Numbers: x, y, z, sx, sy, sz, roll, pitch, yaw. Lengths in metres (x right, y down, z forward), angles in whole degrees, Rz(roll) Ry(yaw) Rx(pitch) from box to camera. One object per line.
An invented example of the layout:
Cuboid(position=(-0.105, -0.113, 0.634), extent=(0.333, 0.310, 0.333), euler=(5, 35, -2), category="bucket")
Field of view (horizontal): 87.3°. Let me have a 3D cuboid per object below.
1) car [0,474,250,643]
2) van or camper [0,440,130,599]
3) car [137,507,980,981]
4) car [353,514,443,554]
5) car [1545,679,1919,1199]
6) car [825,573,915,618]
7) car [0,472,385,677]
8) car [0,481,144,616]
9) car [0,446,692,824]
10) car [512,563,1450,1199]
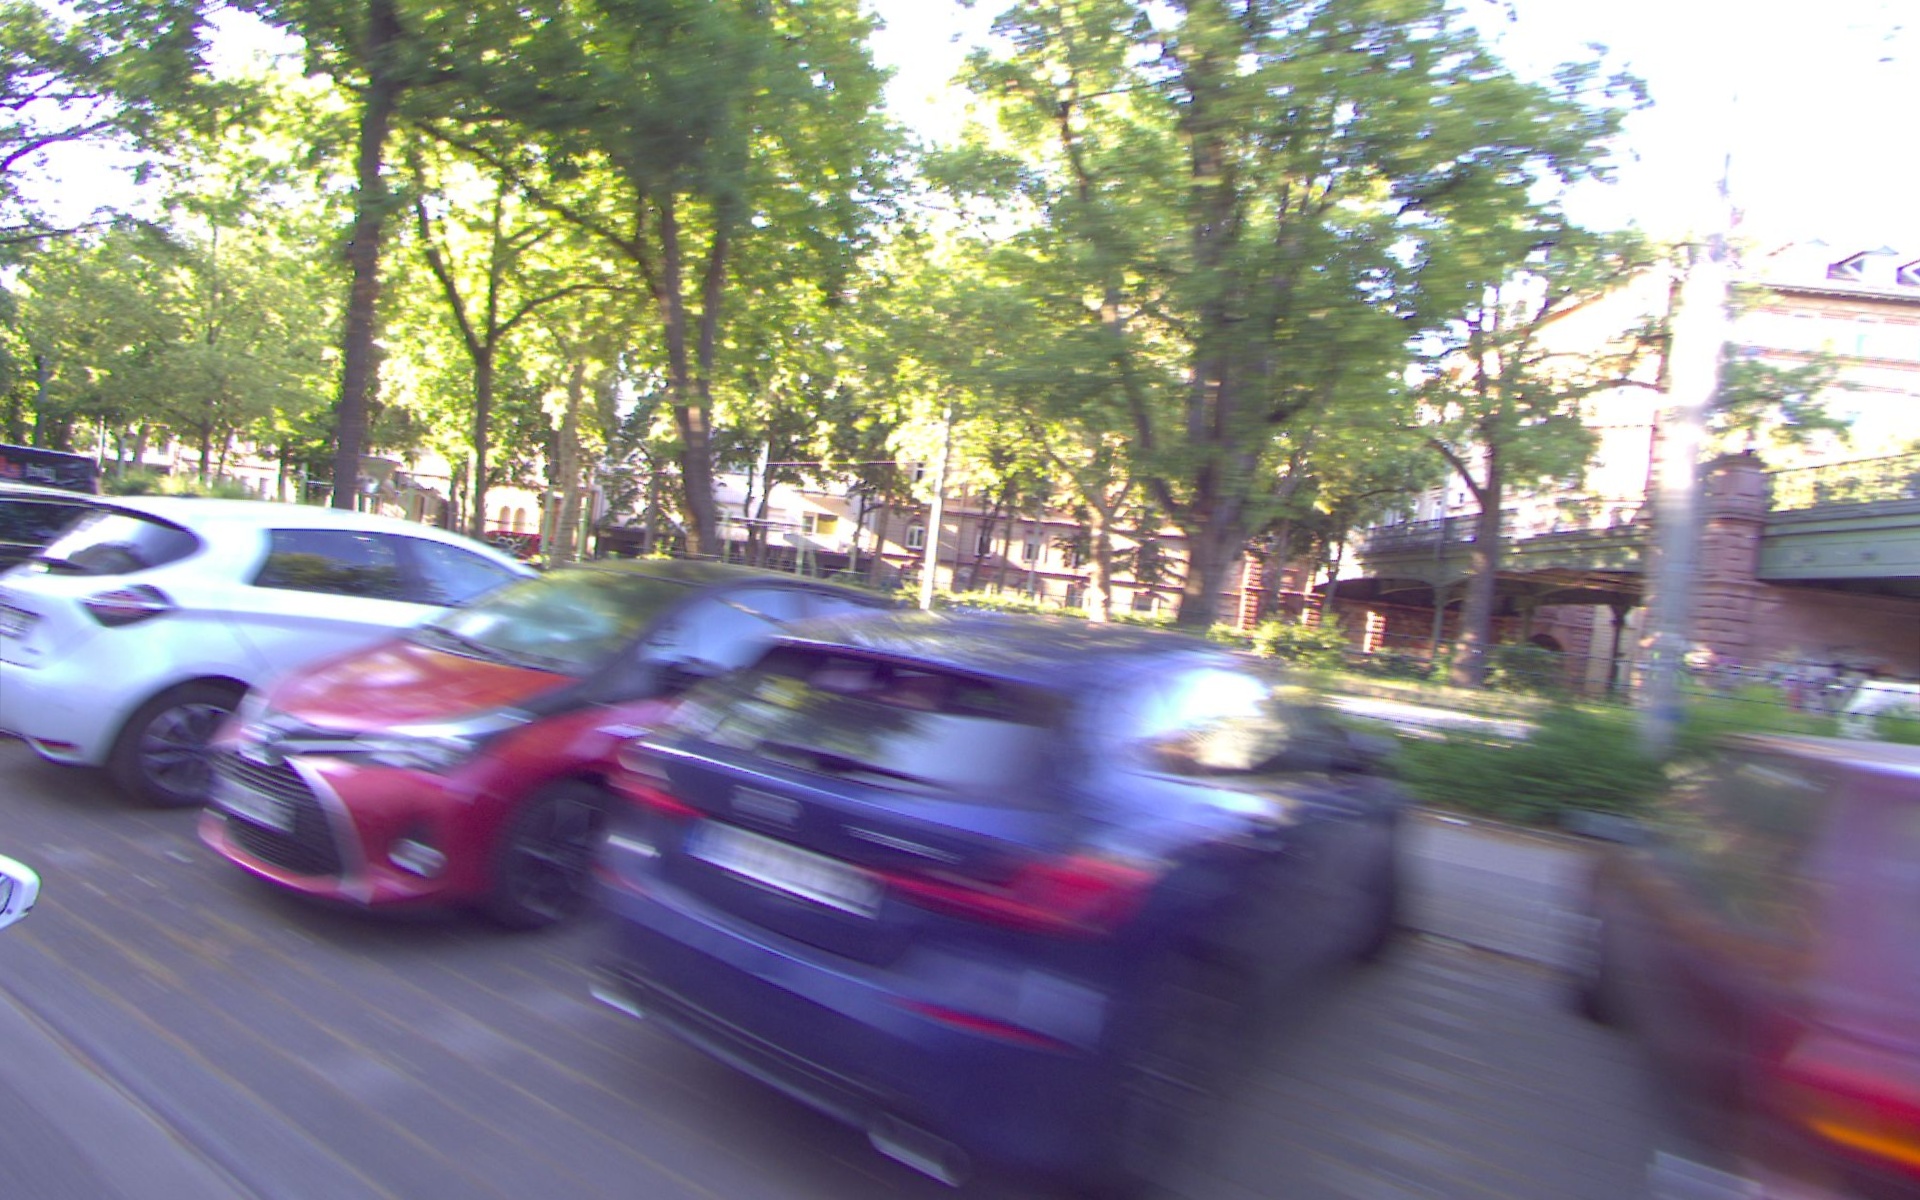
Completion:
Cuboid(position=(-10.056, -0.489, 10.123), extent=(1.637, 1.597, 4.402), euler=(5, 0, 33), category="car")
Cuboid(position=(-14.440, -1.295, 12.905), extent=(1.996, 2.053, 5.417), euler=(8, 1, 33), category="van or camper")
Cuboid(position=(-1.628, 0.532, 5.272), extent=(1.637, 1.492, 3.784), euler=(5, 0, 33), category="car")
Cuboid(position=(-32.489, -3.807, 58.295), extent=(1.967, 1.703, 3.995), euler=(5, -2, 30), category="car")
Cuboid(position=(2.929, 1.078, 2.957), extent=(1.735, 1.419, 3.789), euler=(5, 0, 27), category="car")
Cuboid(position=(-5.130, -0.254, 57.733), extent=(4.648, 2.037, 2.002), euler=(6, -1, 10), category="car")
Cuboid(position=(-7.804, -0.213, 8.871), extent=(1.638, 1.597, 4.399), euler=(5, 0, 35), category="car")
Cuboid(position=(-12.317, -0.729, 11.364), extent=(1.806, 1.519, 4.407), euler=(5, 0, 28), category="car")
Cuboid(position=(-3.773, 0.198, 6.469), extent=(1.637, 1.667, 3.785), euler=(5, 0, 31), category="car")
Cuboid(position=(0.564, 0.802, 3.844), extent=(1.639, 1.465, 3.781), euler=(5, 0, 36), category="car")
